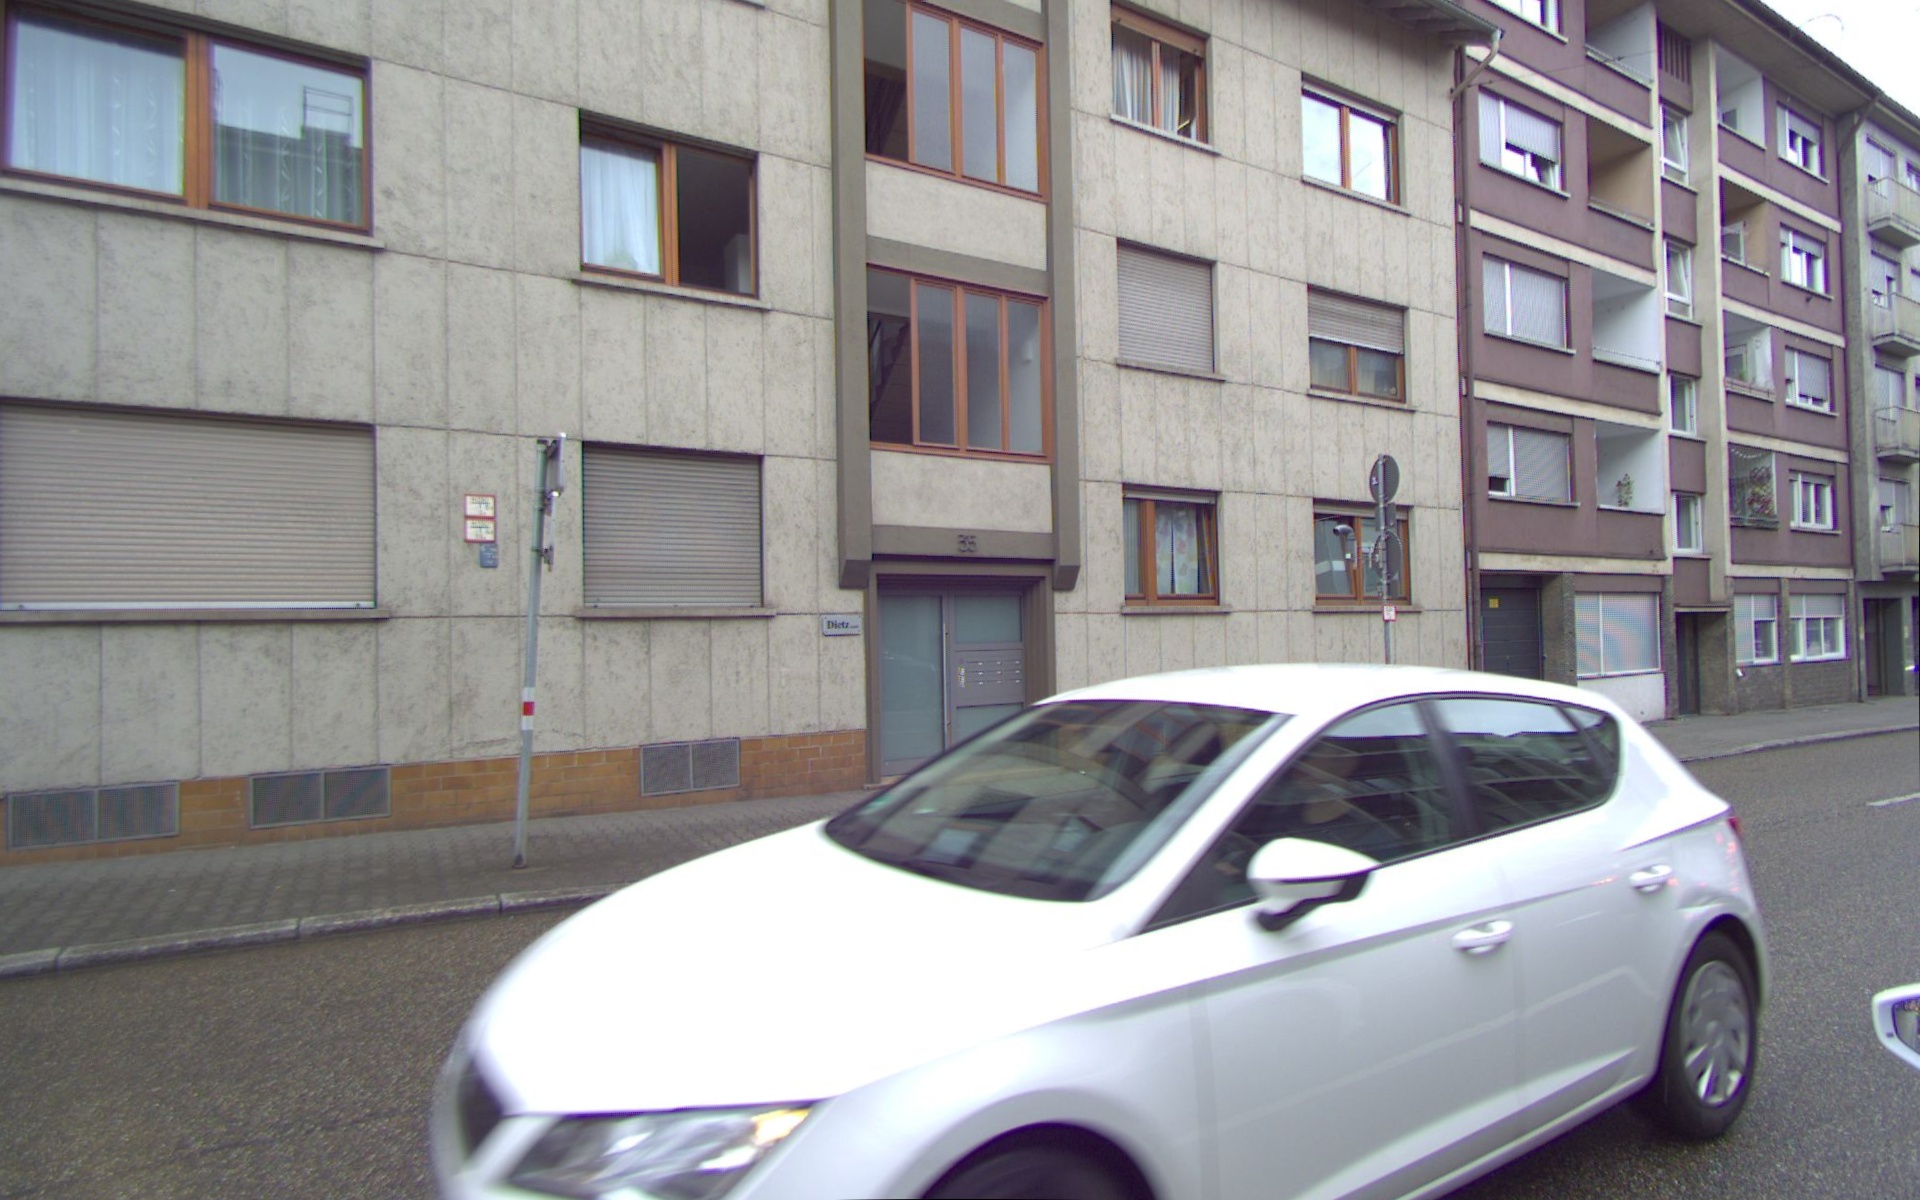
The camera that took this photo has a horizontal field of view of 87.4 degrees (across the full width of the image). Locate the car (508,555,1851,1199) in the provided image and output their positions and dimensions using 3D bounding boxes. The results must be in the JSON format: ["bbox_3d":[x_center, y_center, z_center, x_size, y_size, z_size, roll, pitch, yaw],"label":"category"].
[{"bbox_3d":[0.876,0.828,3.159,4.007,1.559,1.736,2,-4,-31],"label":"car"}]
